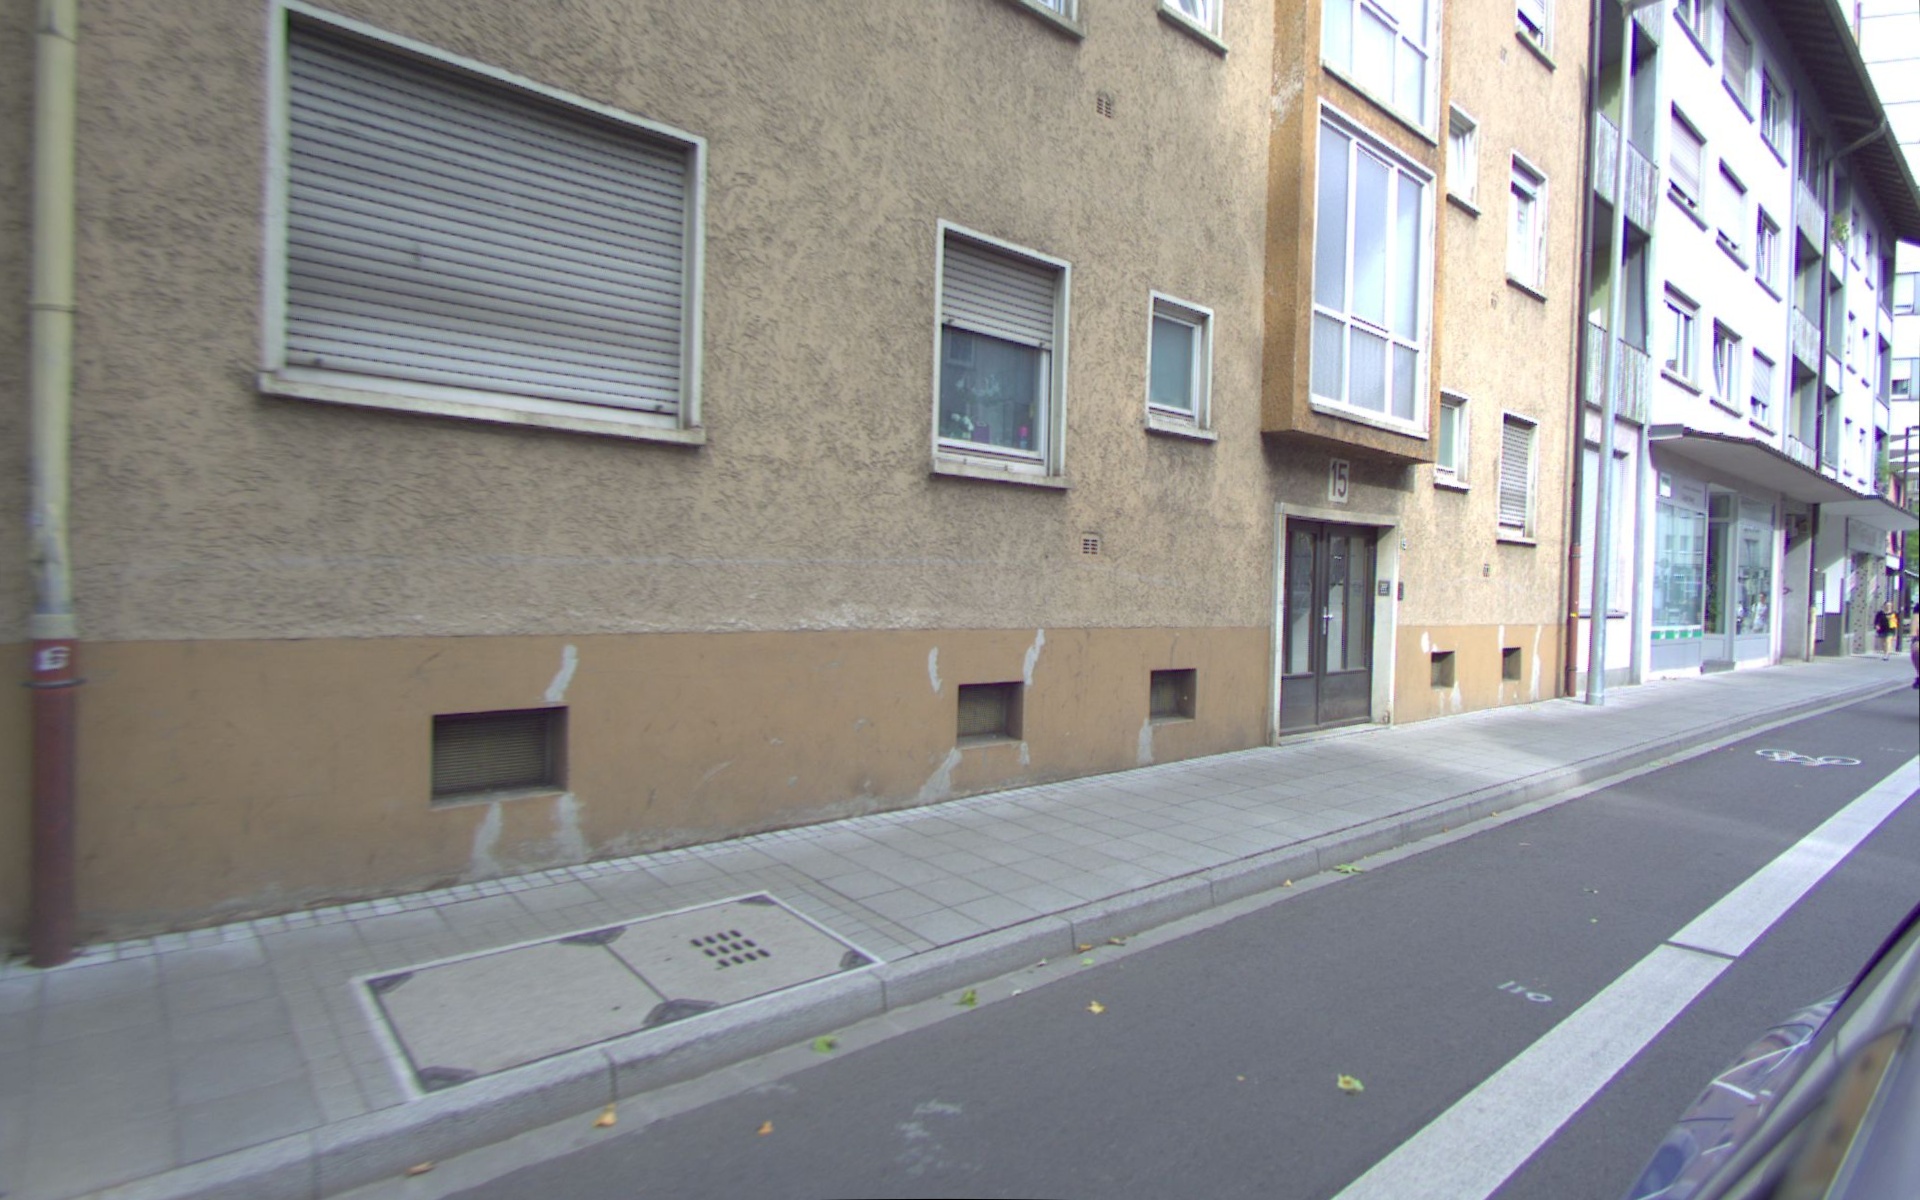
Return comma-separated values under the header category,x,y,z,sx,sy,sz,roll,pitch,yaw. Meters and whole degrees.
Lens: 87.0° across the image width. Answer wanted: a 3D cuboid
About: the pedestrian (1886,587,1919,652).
category,x,y,z,sx,sy,sz,roll,pitch,yaw
pedestrian,25.495,0.513,27.333,0.928,1.689,0.605,1,1,-42
